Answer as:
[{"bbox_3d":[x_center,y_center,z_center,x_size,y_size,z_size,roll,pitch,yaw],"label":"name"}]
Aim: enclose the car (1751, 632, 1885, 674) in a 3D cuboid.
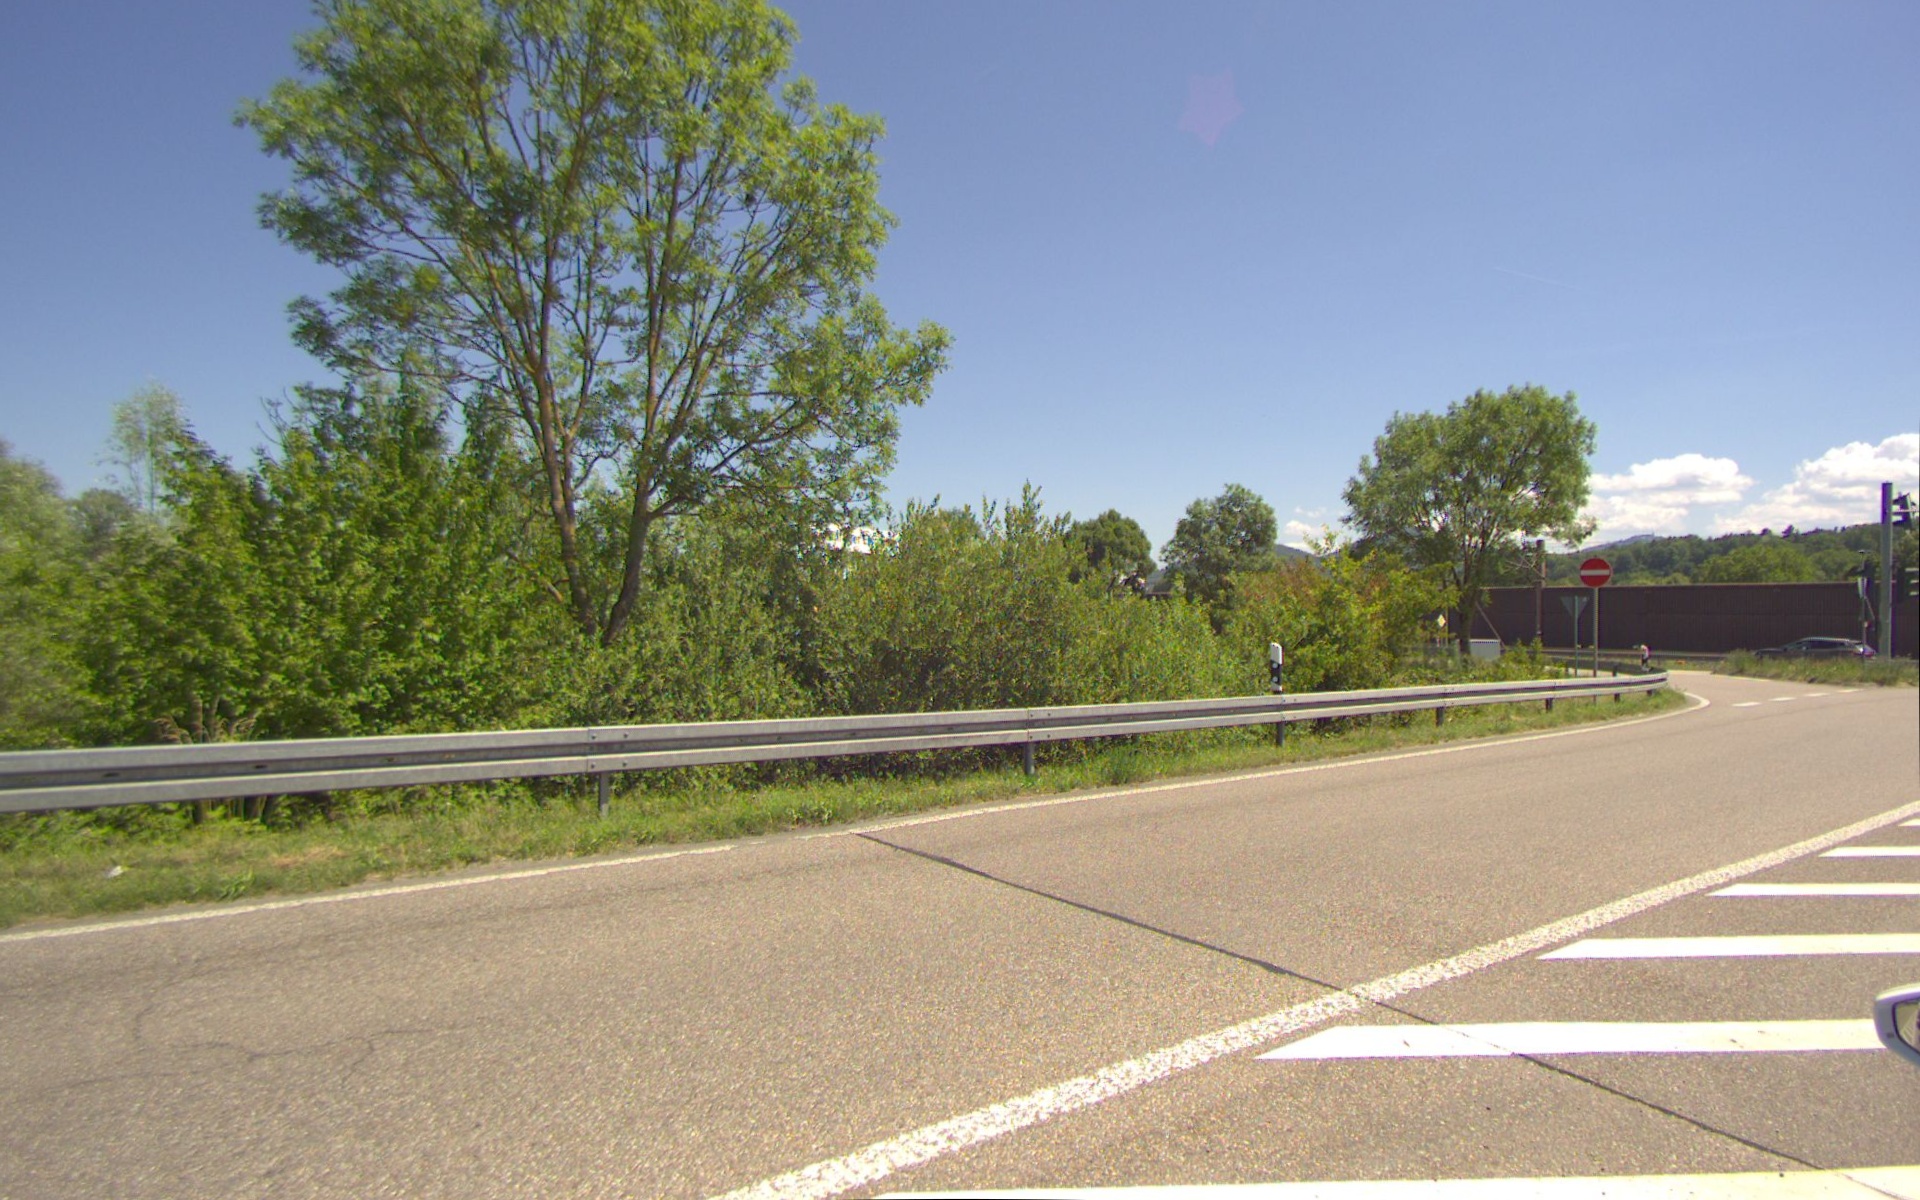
[{"bbox_3d":[36.759,2.252,43.113,1.978,1.576,3.965,2,0,-32],"label":"car"}]
